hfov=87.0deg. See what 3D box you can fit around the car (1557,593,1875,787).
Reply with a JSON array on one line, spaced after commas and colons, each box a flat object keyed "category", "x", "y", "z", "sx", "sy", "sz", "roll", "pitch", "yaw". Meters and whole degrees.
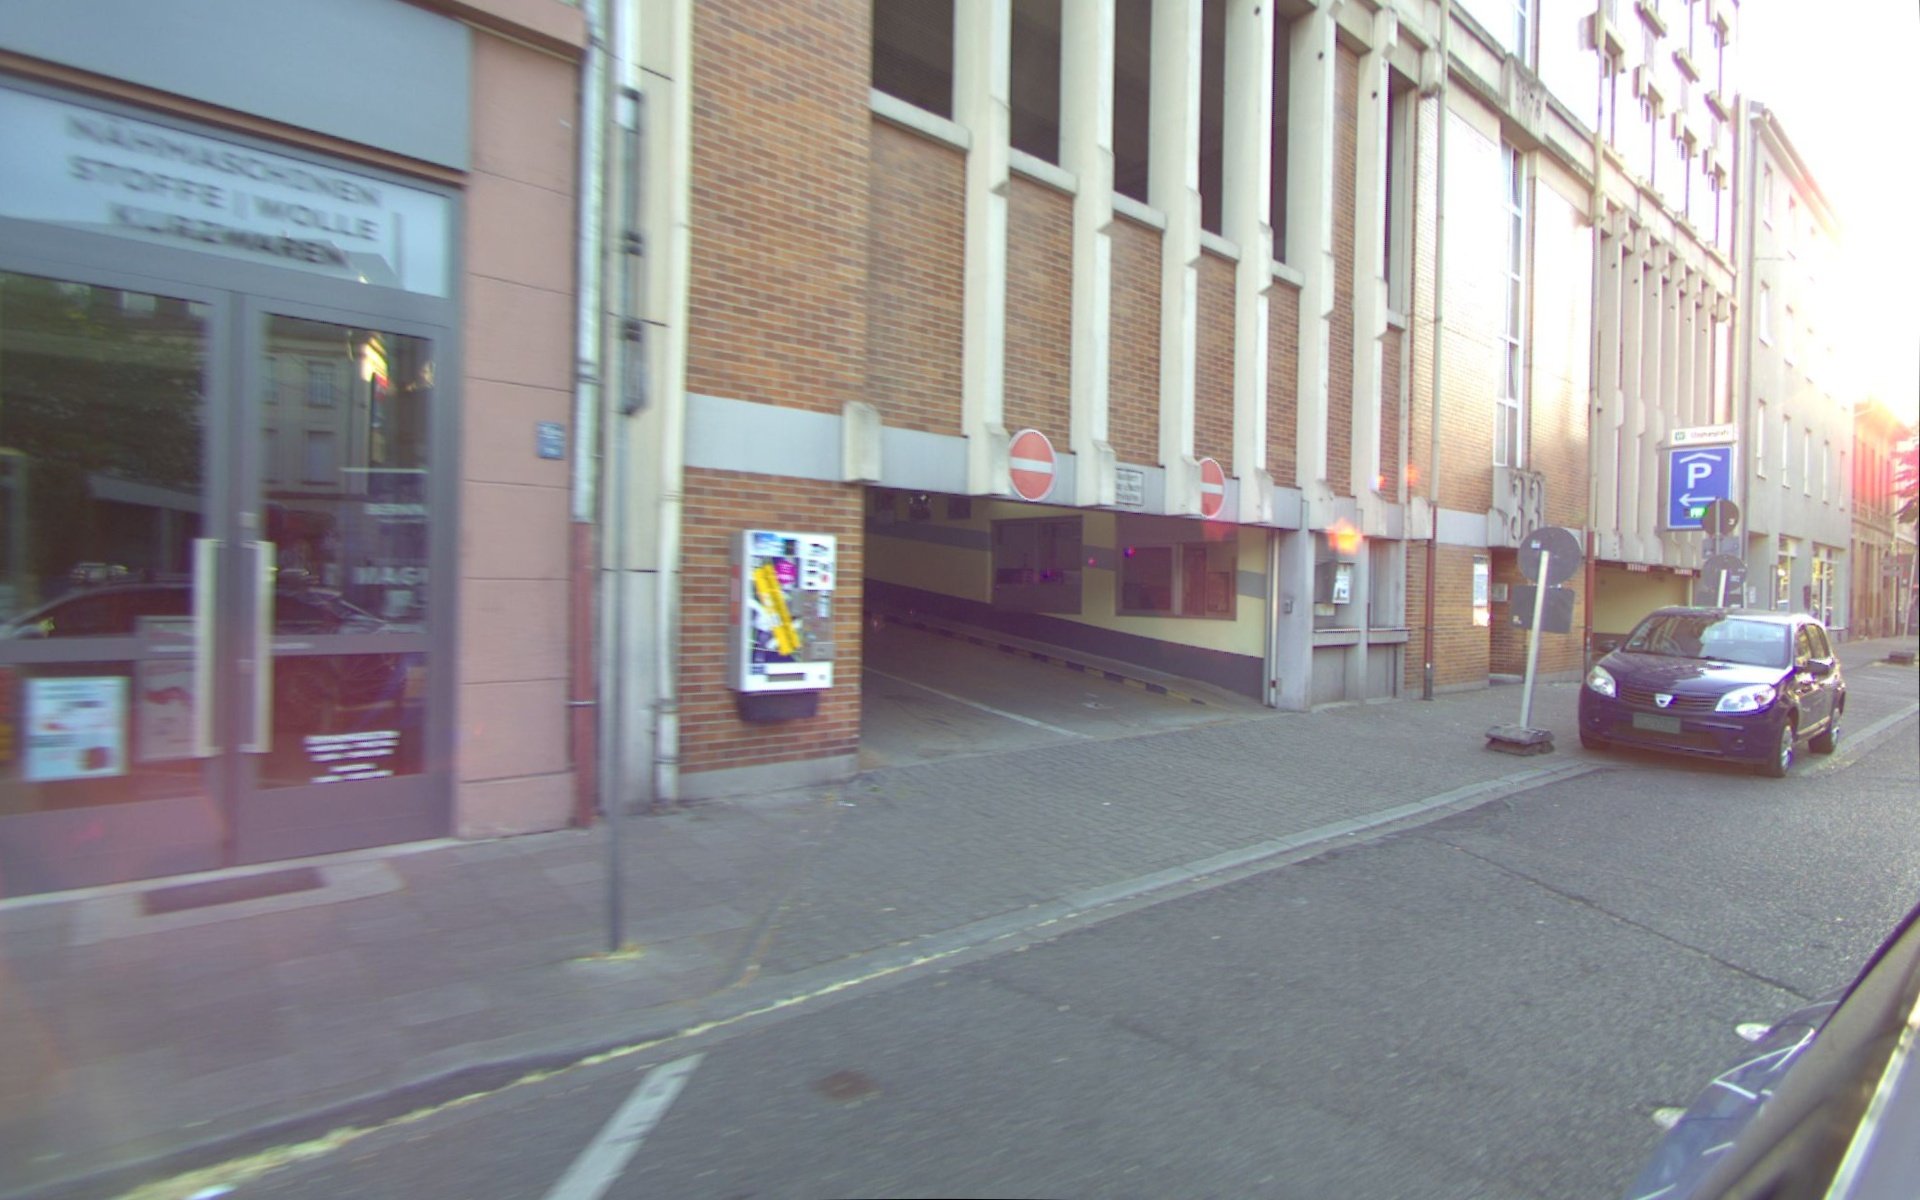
[{"category": "car", "x": 8.029, "y": 0.774, "z": 10.624, "sx": 3.929, "sy": 1.555, "sz": 1.763, "roll": 0, "pitch": 3, "yaw": -40}]
